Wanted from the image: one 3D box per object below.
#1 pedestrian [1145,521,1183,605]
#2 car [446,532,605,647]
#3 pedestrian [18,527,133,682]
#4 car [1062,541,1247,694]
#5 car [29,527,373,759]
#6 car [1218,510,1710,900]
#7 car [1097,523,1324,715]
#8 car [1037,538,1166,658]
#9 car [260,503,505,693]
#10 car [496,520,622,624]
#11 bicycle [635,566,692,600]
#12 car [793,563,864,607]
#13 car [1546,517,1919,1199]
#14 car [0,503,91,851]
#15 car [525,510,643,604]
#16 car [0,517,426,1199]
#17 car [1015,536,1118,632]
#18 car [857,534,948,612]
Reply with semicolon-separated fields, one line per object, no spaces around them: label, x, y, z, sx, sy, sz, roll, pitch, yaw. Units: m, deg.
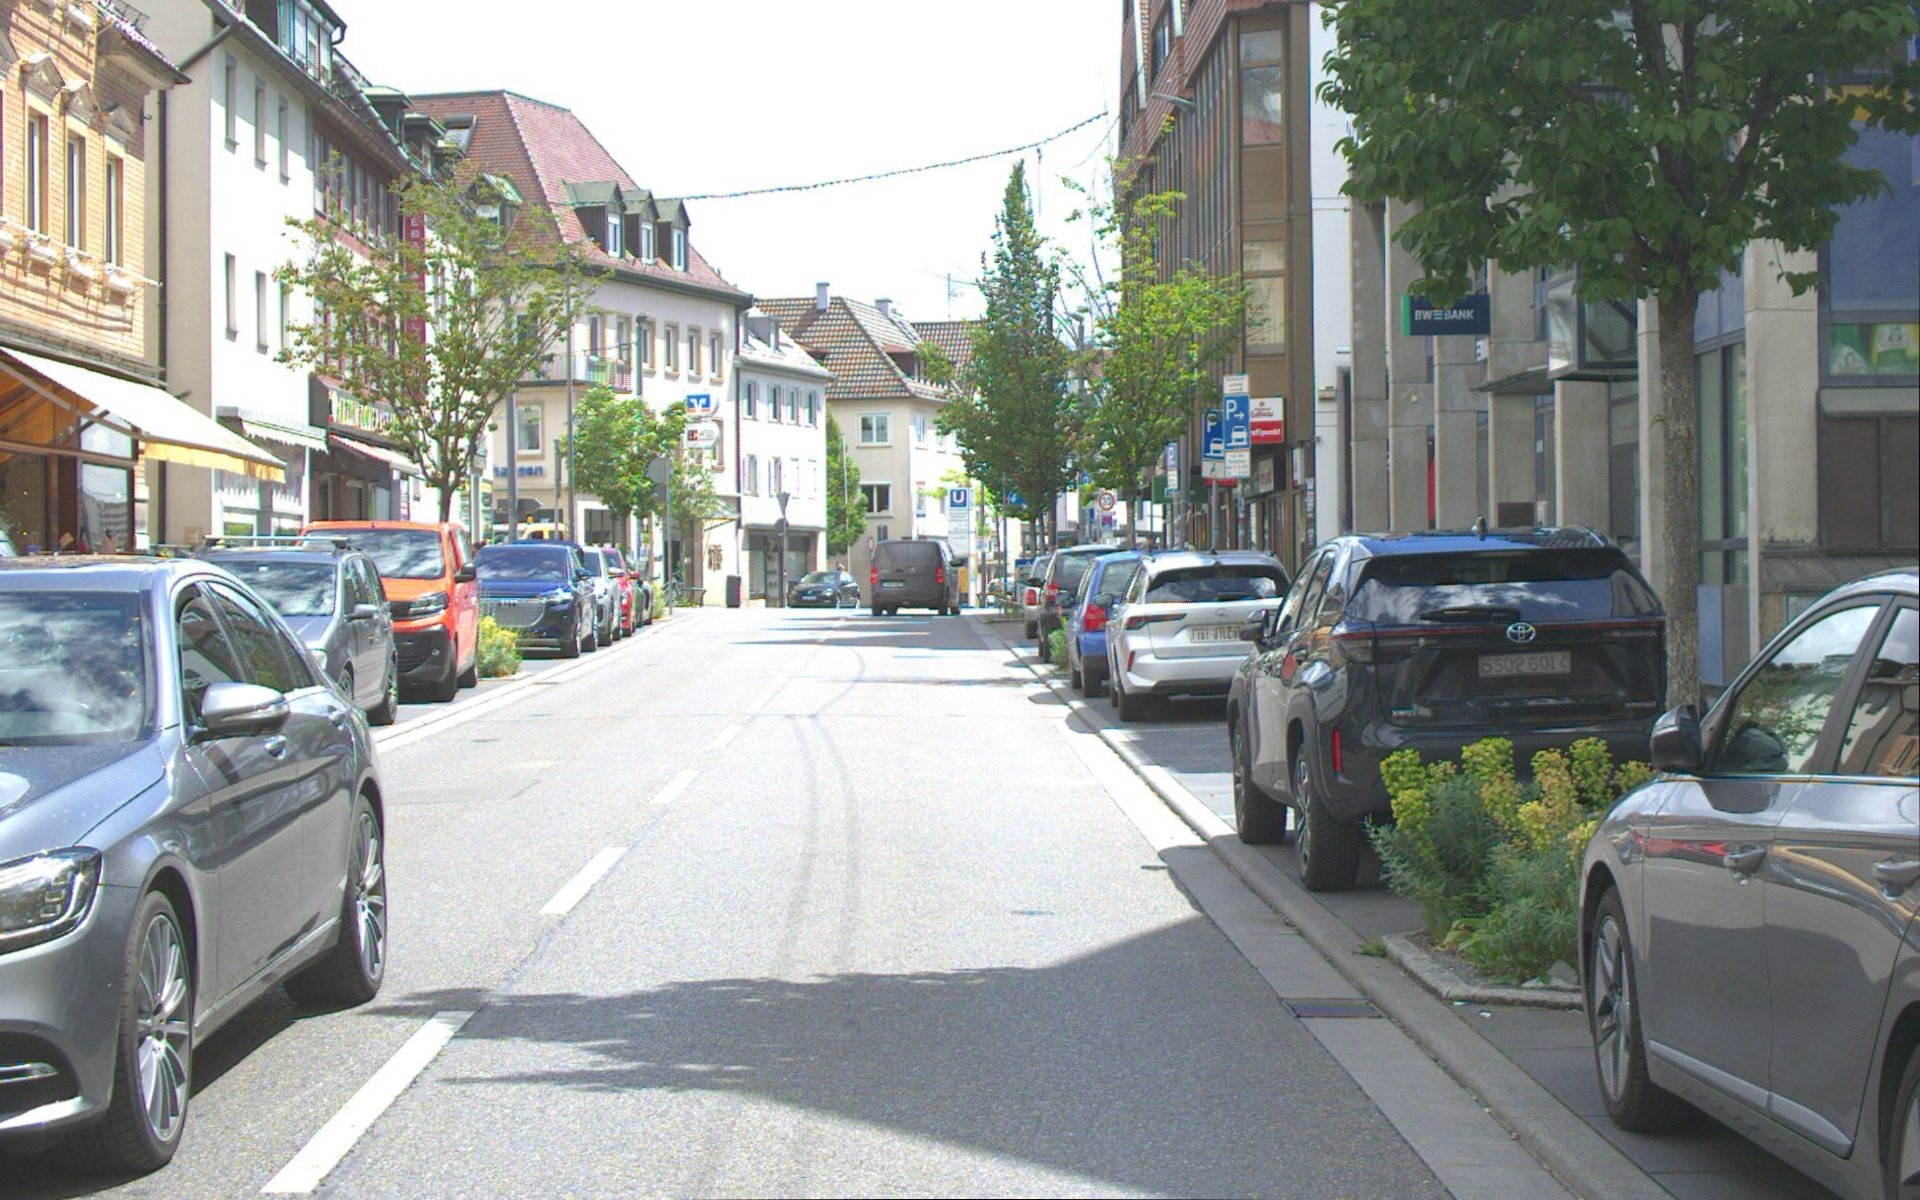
pedestrian;4.423;-0.793;74.552;0.737;1.808;0.711;1;0;0
car;-6.248;-0.188;49.848;1.799;1.592;4.389;0;1;-1
pedestrian;-9.083;0.044;35.320;0.807;1.569;0.778;1;0;32
car;1.998;0.167;36.257;1.721;1.488;4.109;1;0;0
car;-6.214;0.321;28.655;1.816;1.749;4.464;1;0;1
car;2.225;0.426;16.189;1.721;1.571;4.109;1;0;0
car;2.170;0.150;30.841;1.721;1.571;4.428;1;0;0
car;1.897;-0.061;46.959;1.609;1.527;3.795;-1;1;1
car;-6.165;-0.030;37.195;1.816;1.882;4.841;1;0;0
car;-6.420;-0.467;55.429;1.799;1.598;4.352;-1;1;-4
bicycle;-9.105;-0.527;105.567;1.633;1.027;0.567;1;0;15
car;-4.511;-0.517;118.363;1.625;1.481;3.803;1;0;11
car;2.496;0.602;7.210;1.721;1.471;4.354;1;0;-1
car;-5.754;0.374;16.511;1.816;1.749;4.668;1;0;2
car;-6.613;-0.769;60.841;1.799;1.598;4.219;-1;1;-3
car;-2.845;0.571;9.807;1.905;1.558;4.646;-2;1;0
car;1.810;-0.299;59.190;1.609;1.490;3.795;-4;1;1
car;-1.458;-0.657;85.698;2.040;1.842;5.000;1;0;-3
